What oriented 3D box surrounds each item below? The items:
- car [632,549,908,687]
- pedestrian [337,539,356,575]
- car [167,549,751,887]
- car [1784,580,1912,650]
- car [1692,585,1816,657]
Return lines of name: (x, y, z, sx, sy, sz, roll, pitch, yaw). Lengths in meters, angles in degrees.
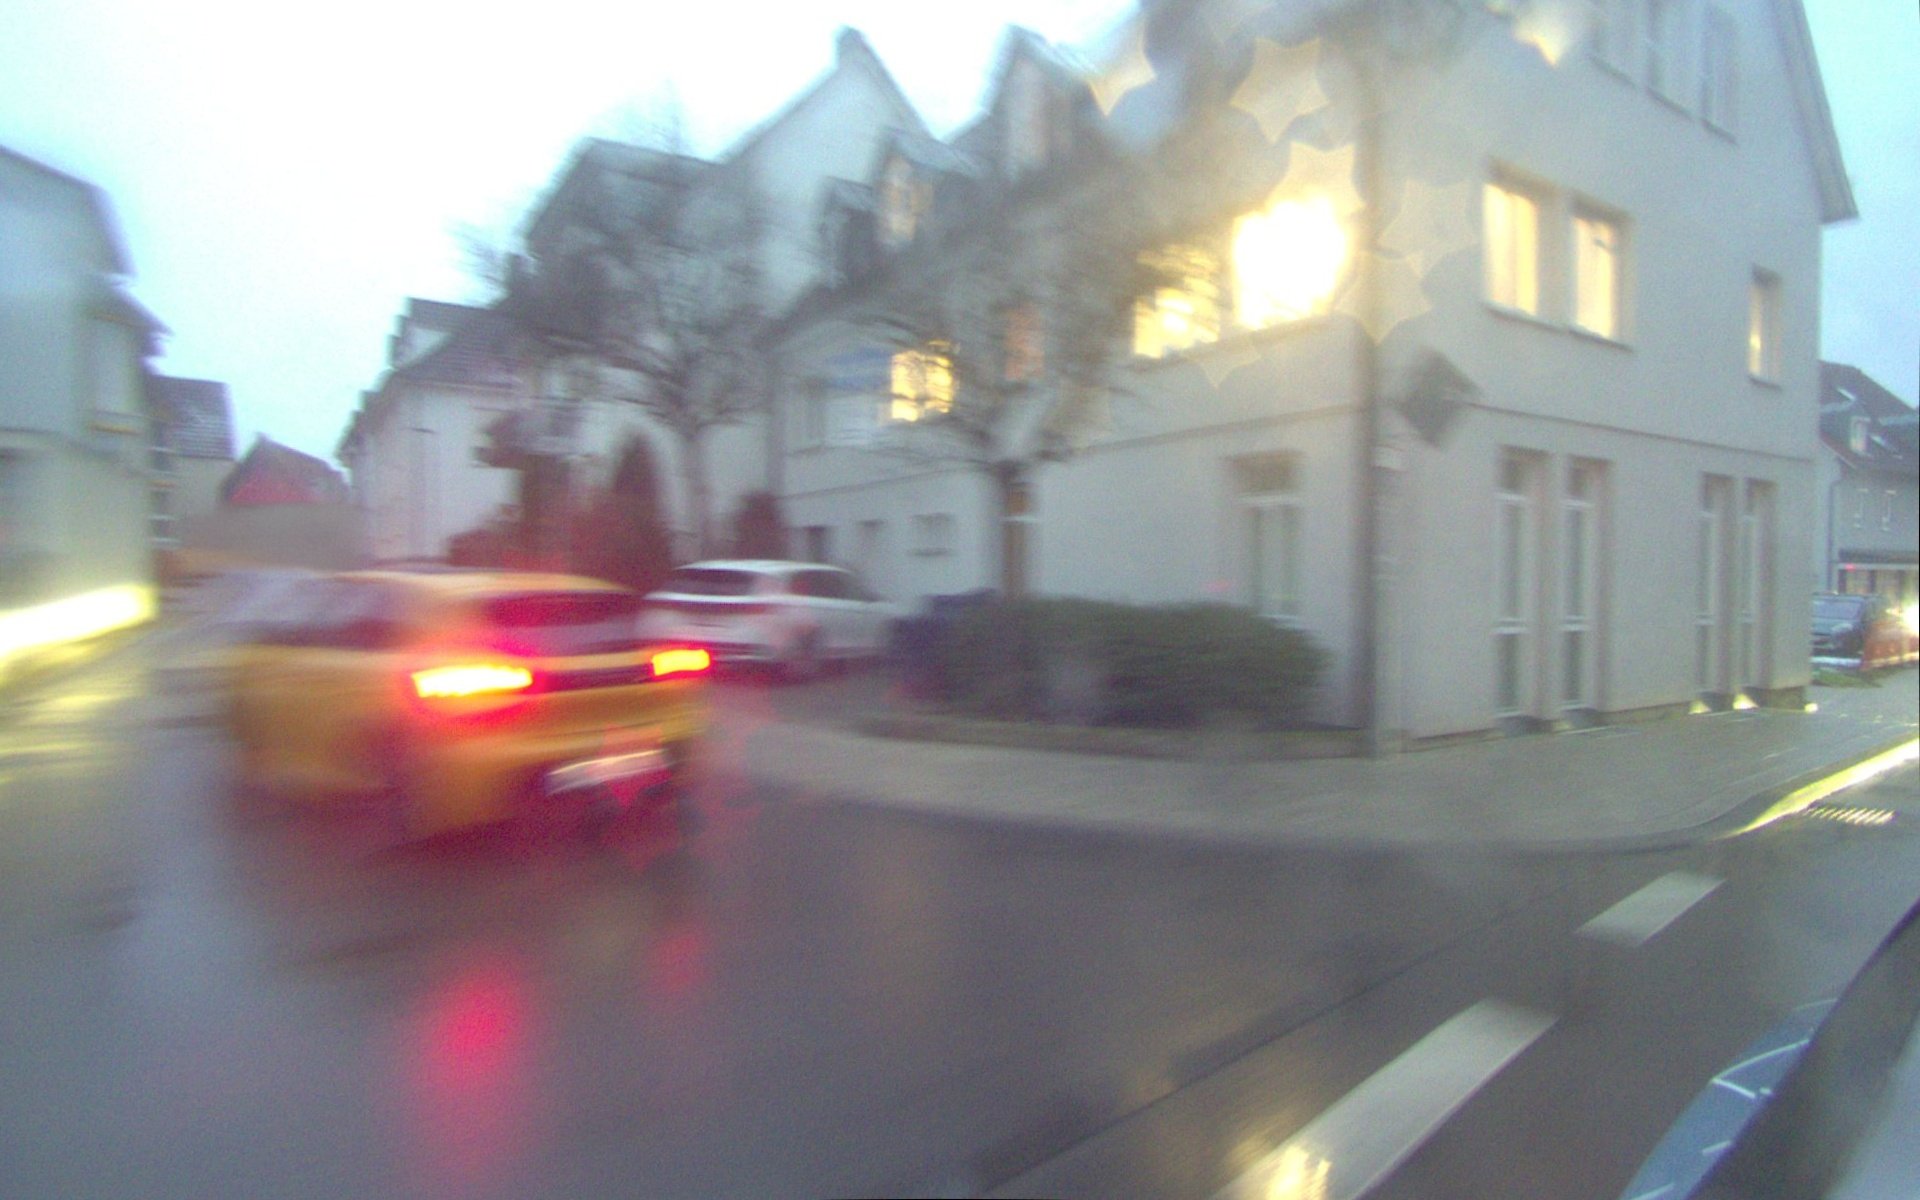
car: (-2.319, 0.167, 13.568, 1.773, 1.486, 4.198, 3, 1, 19)
pedestrian: (-29.461, -2.082, 48.608, 0.762, 1.681, 0.651, 1, 2, -31)
car: (-3.235, 0.465, 6.302, 3.705, 1.465, 1.753, 3, 2, 36)
car: (25.640, 0.418, 29.191, 4.162, 1.845, 1.787, 1, 1, -35)
car: (18.290, 0.491, 23.269, 1.782, 1.424, 3.693, 5, 2, 44)
